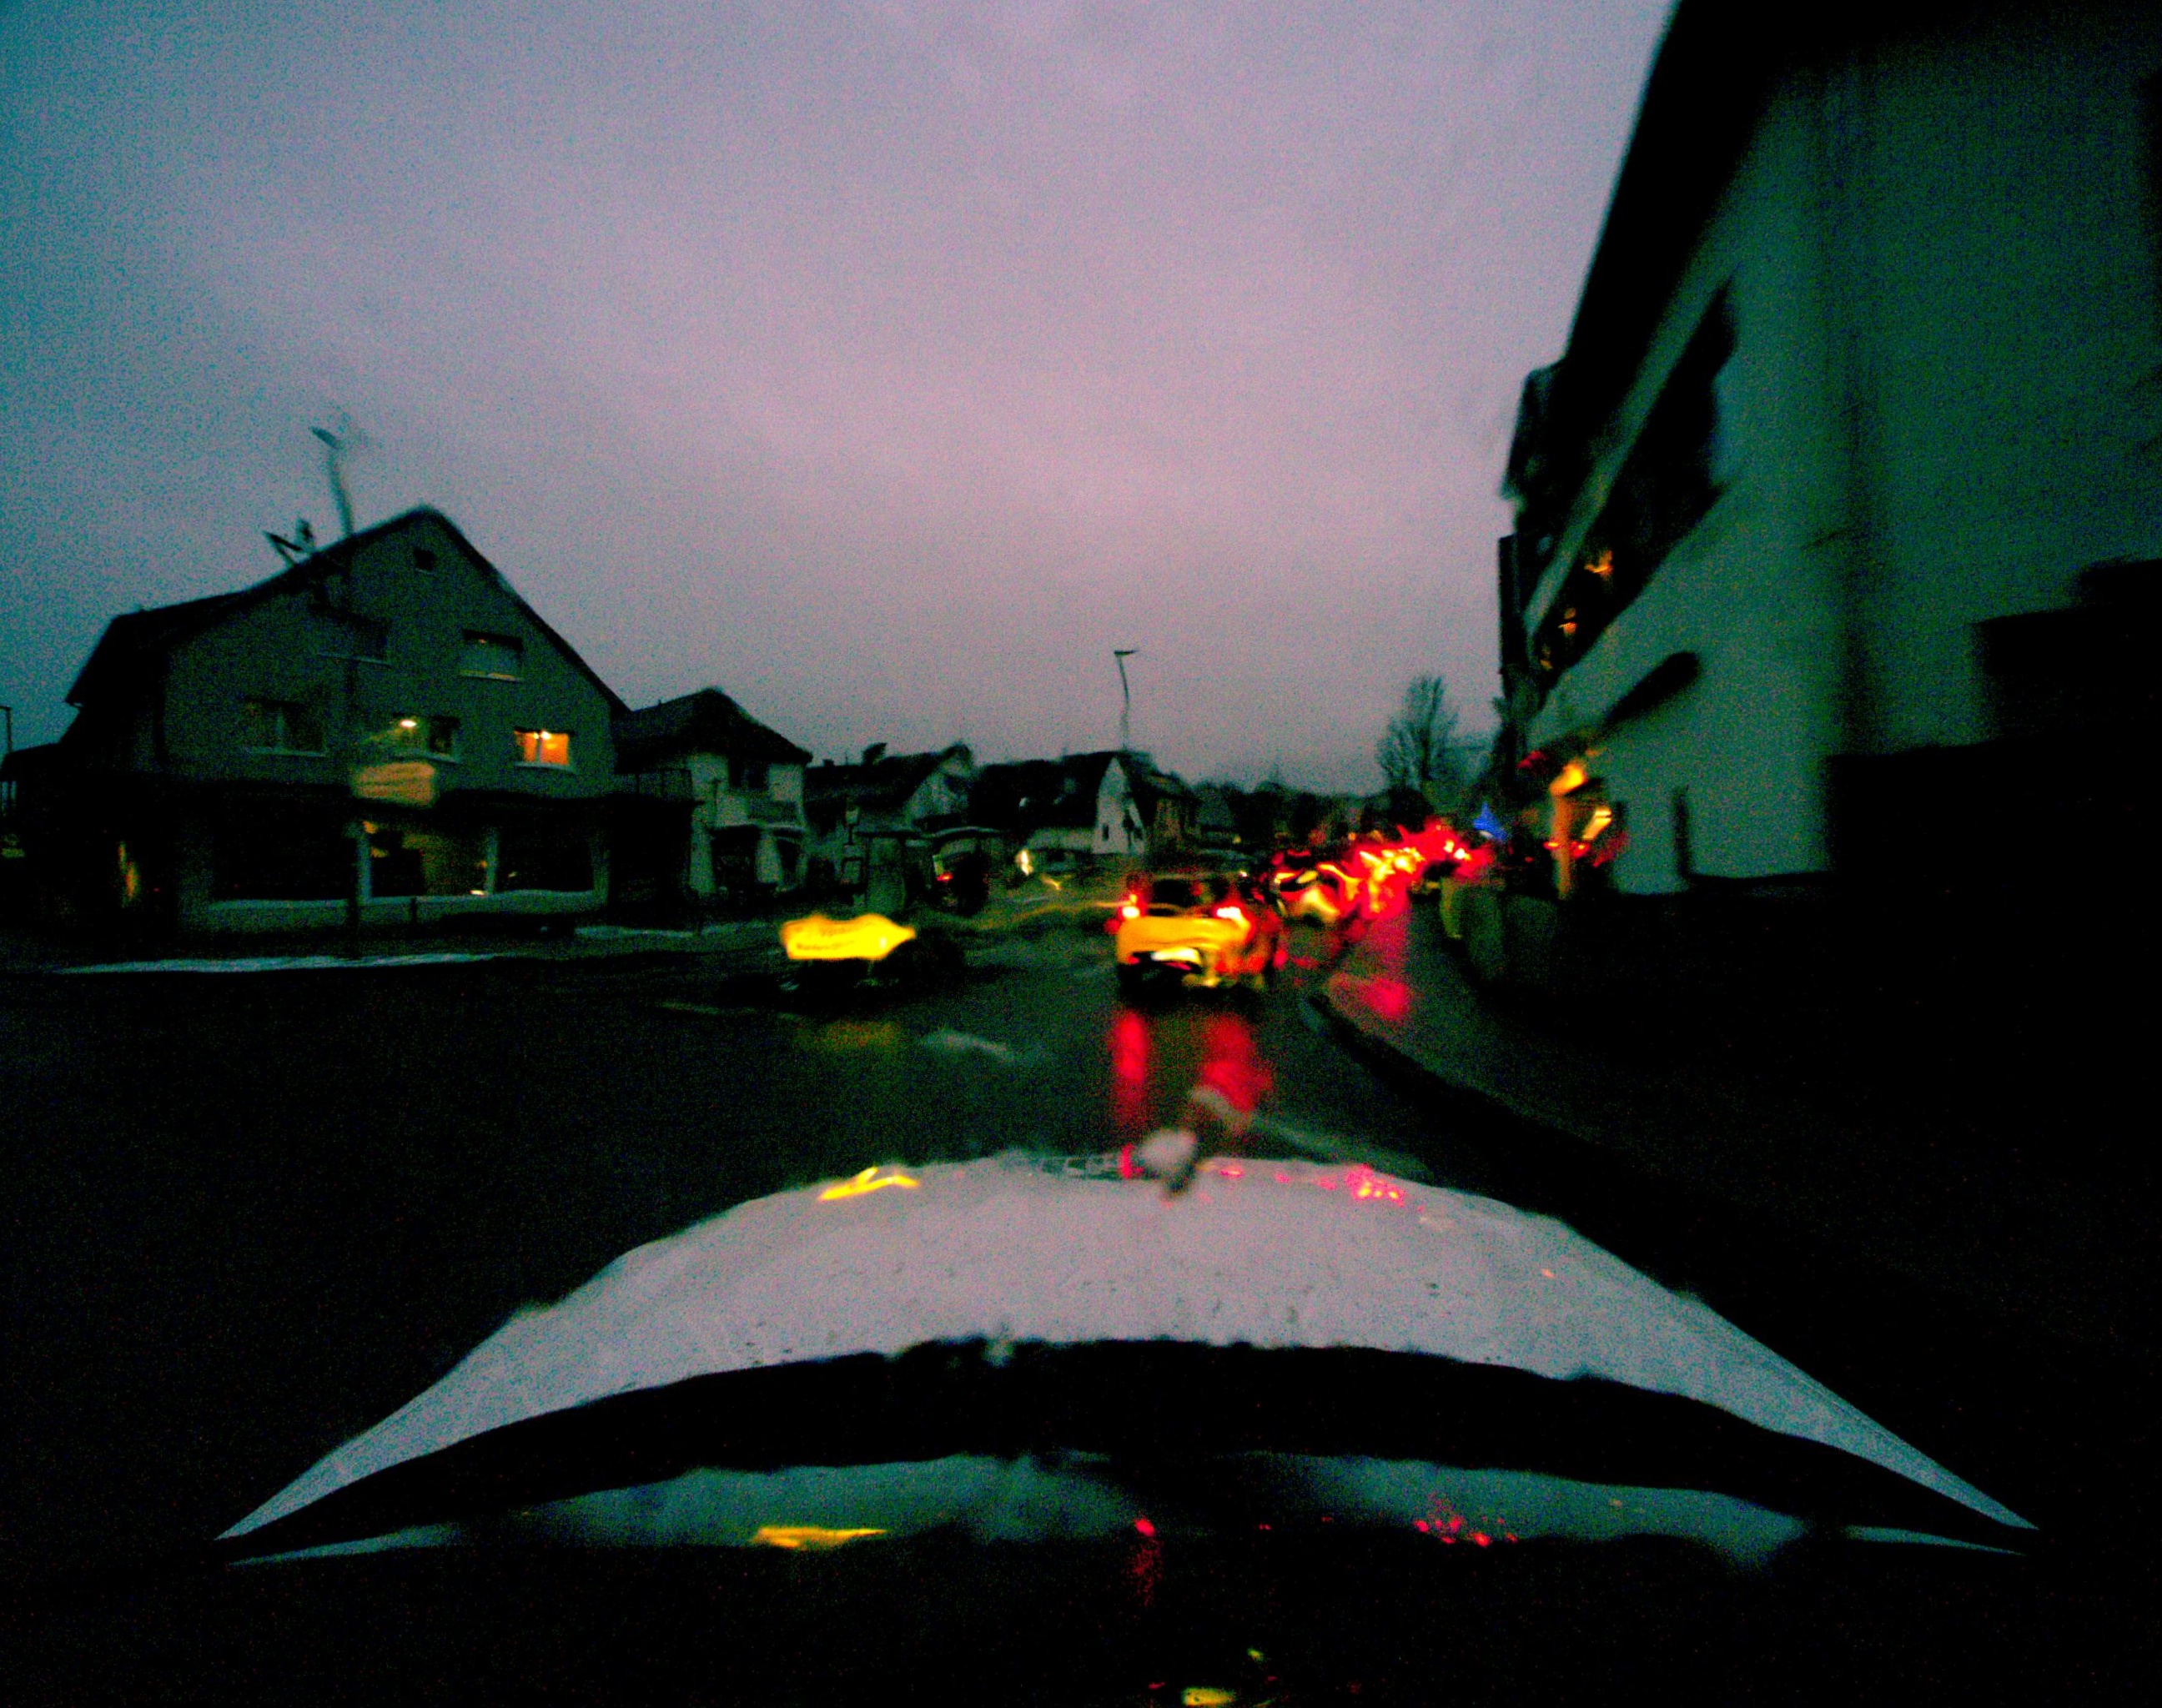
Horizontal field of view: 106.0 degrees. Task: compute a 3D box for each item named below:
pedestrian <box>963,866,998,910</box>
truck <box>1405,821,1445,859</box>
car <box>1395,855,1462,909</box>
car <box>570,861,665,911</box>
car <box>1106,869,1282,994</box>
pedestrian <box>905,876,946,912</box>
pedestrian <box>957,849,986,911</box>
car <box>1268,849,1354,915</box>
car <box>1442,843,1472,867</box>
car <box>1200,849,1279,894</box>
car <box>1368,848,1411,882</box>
[{"bbox_3d":[-3.161,1.061,25.601,0.776,1.348,0.721,-1,0,26],"label":"pedestrian"},{"bbox_3d":[29.354,-1.180,69.367,2.689,3.010,6.028,-2,0,26],"label":"truck"},{"bbox_3d":[11.766,0.910,27.454,1.794,1.570,3.874,-2,0,26],"label":"car"},{"bbox_3d":[-18.151,1.219,31.838,3.948,1.797,1.821,-2,0,38],"label":"car"},{"bbox_3d":[1.766,0.931,11.453,1.696,1.422,4.031,-1,-1,19],"label":"car"},{"bbox_3d":[-4.558,1.168,23.919,0.853,1.010,0.816,-1,0,23],"label":"pedestrian"},{"bbox_3d":[-3.290,0.770,24.540,0.725,1.818,0.531,-2,0,3],"label":"pedestrian"},{"bbox_3d":[6.544,0.731,22.920,1.899,1.615,3.971,-2,0,21],"label":"car"},{"bbox_3d":[24.920,0.033,53.922,1.675,1.467,3.741,-2,0,27],"label":"car"},{"bbox_3d":[6.100,0.631,30.975,1.724,1.568,4.087,-1,0,29],"label":"car"},{"bbox_3d":[16.247,0.563,42.798,1.706,1.632,4.024,-2,0,26],"label":"car"}]
